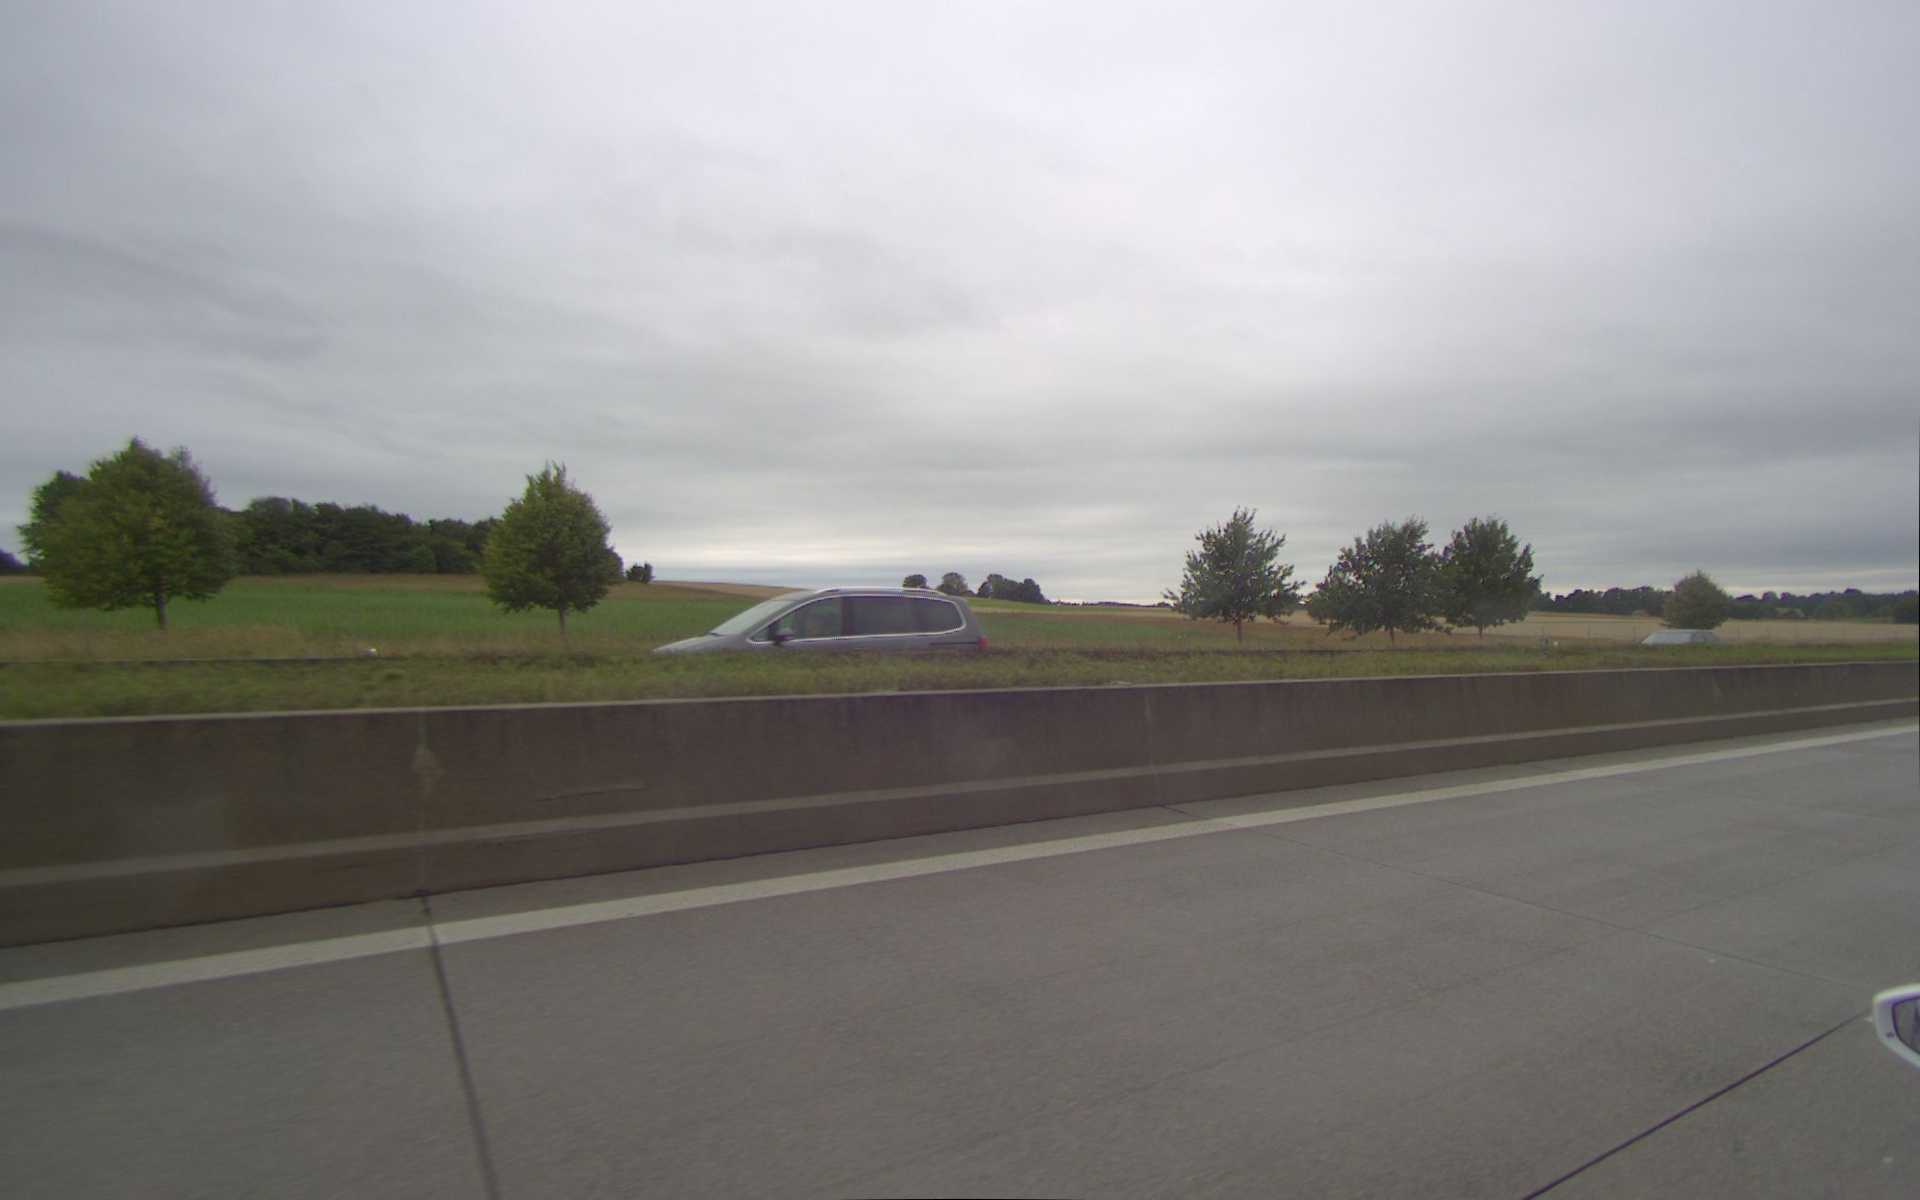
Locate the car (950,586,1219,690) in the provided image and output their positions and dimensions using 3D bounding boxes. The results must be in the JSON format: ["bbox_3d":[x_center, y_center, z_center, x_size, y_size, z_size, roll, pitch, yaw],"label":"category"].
[{"bbox_3d":[1.993,0.562,15.658,4.022,1.417,1.662,1,1,-33],"label":"car"}]
